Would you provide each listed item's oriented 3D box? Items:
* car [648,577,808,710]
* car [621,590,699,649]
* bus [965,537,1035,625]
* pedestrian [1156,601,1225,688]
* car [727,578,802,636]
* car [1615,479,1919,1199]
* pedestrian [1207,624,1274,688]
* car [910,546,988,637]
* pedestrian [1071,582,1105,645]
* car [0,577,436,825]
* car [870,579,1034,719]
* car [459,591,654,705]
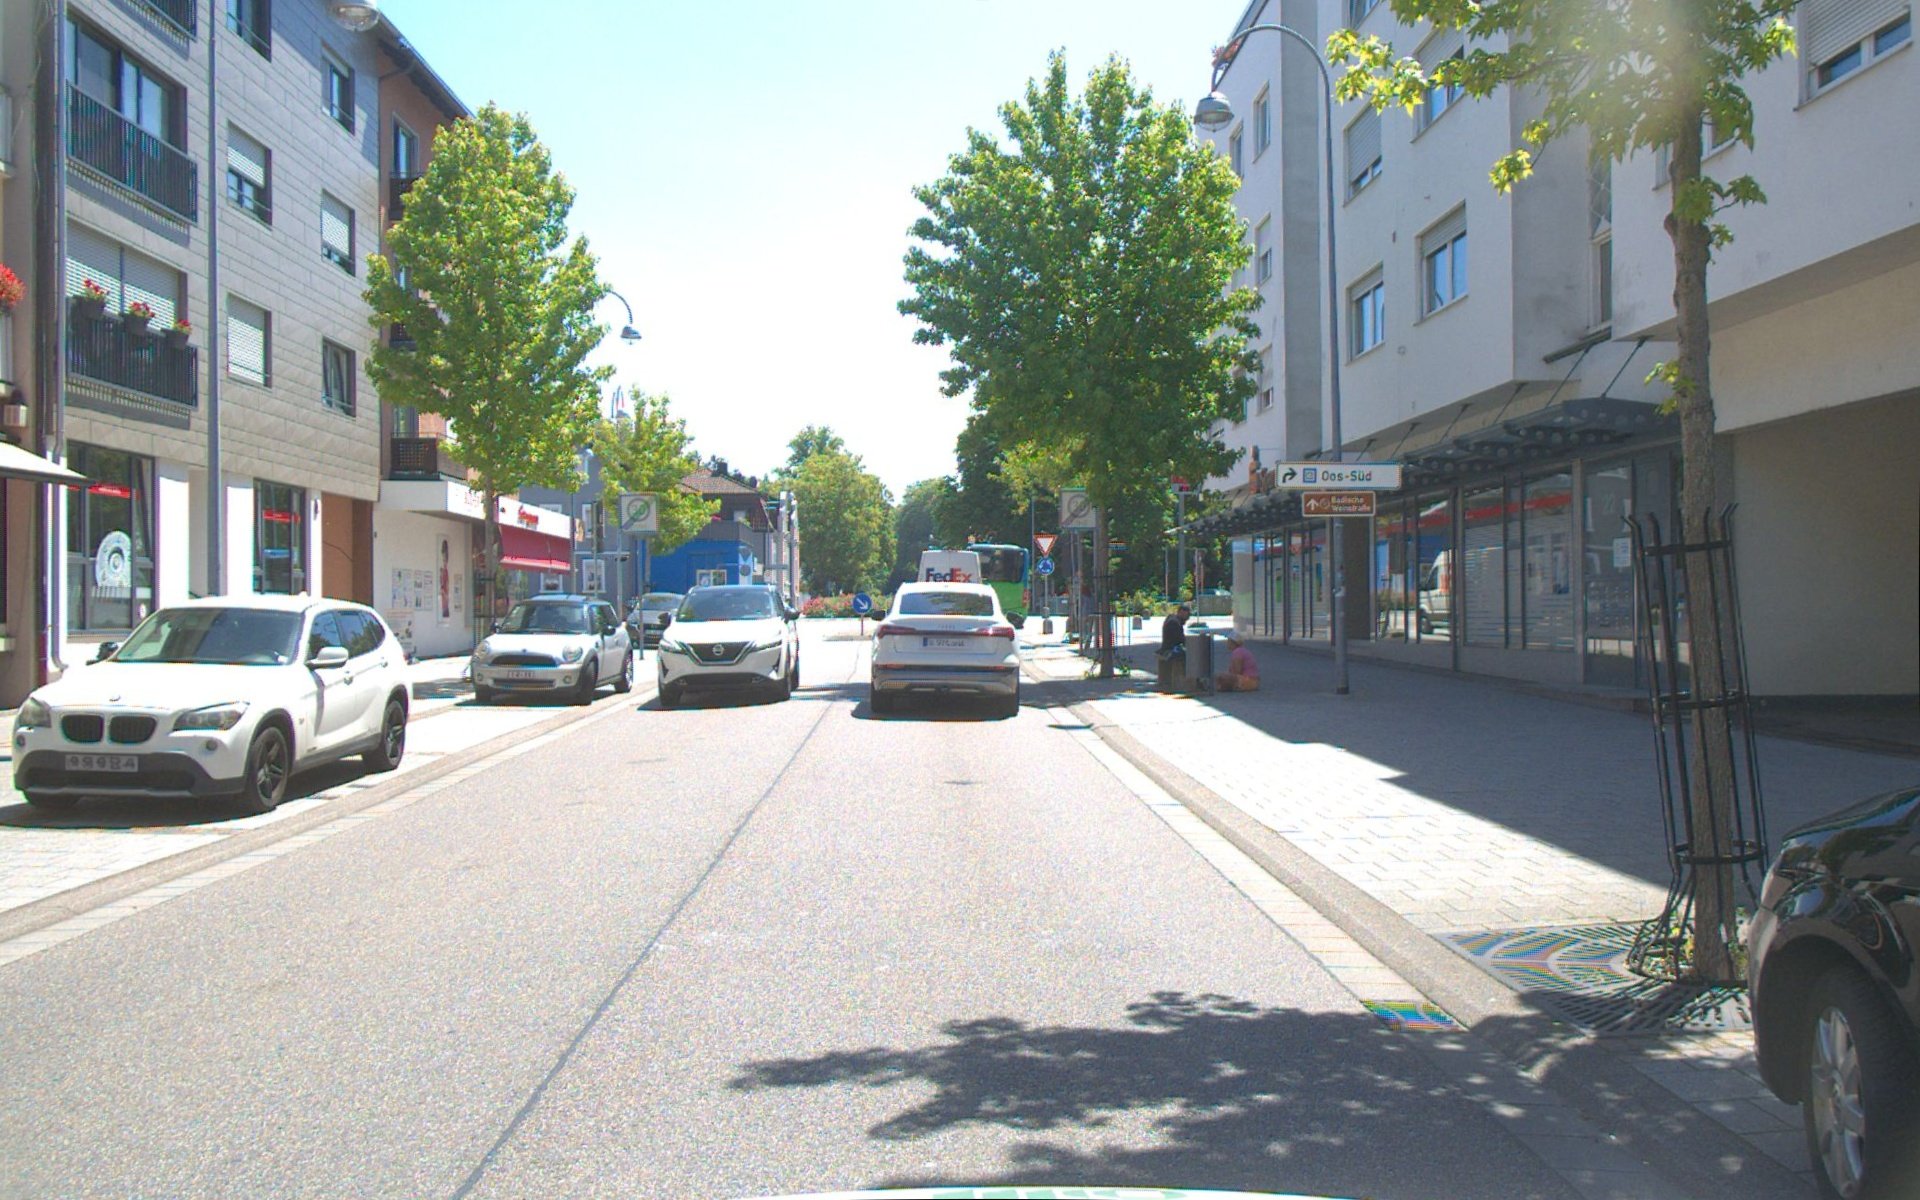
[{"bbox_3d":[-3.285,0.580,24.141,1.819,1.721,4.148,-2,0,-2],"label":"car"},{"bbox_3d":[-8.201,0.505,45.463,1.802,1.521,3.994,-1,0,-6],"label":"car"},{"bbox_3d":[1.599,-0.699,66.814,2.606,3.278,7.302,1,0,1],"label":"bus"},{"bbox_3d":[3.395,0.650,24.400,0.888,1.258,0.648,-1,0,-2],"label":"pedestrian"},{"bbox_3d":[-6.431,0.219,54.068,1.834,1.788,3.984,1,0,-15],"label":"car"},{"bbox_3d":[2.998,0.562,2.633,1.819,1.704,4.533,-2,0,-4],"label":"car"},{"bbox_3d":[4.054,0.804,23.946,0.887,0.894,0.648,-1,0,3],"label":"pedestrian"},{"bbox_3d":[-0.368,-0.229,48.686,2.112,2.484,5.282,1,0,-1],"label":"car"},{"bbox_3d":[3.143,0.328,40.701,0.572,1.529,0.715,-1,0,-19],"label":"pedestrian"},{"bbox_3d":[-5.848,0.691,13.489,1.717,1.646,4.400,1,0,0],"label":"car"},{"bbox_3d":[-0.180,0.592,21.838,1.954,1.661,3.998,1,0,-3],"label":"car"},{"bbox_3d":[-5.813,0.642,24.359,1.716,1.478,4.401,1,0,0],"label":"car"}]
